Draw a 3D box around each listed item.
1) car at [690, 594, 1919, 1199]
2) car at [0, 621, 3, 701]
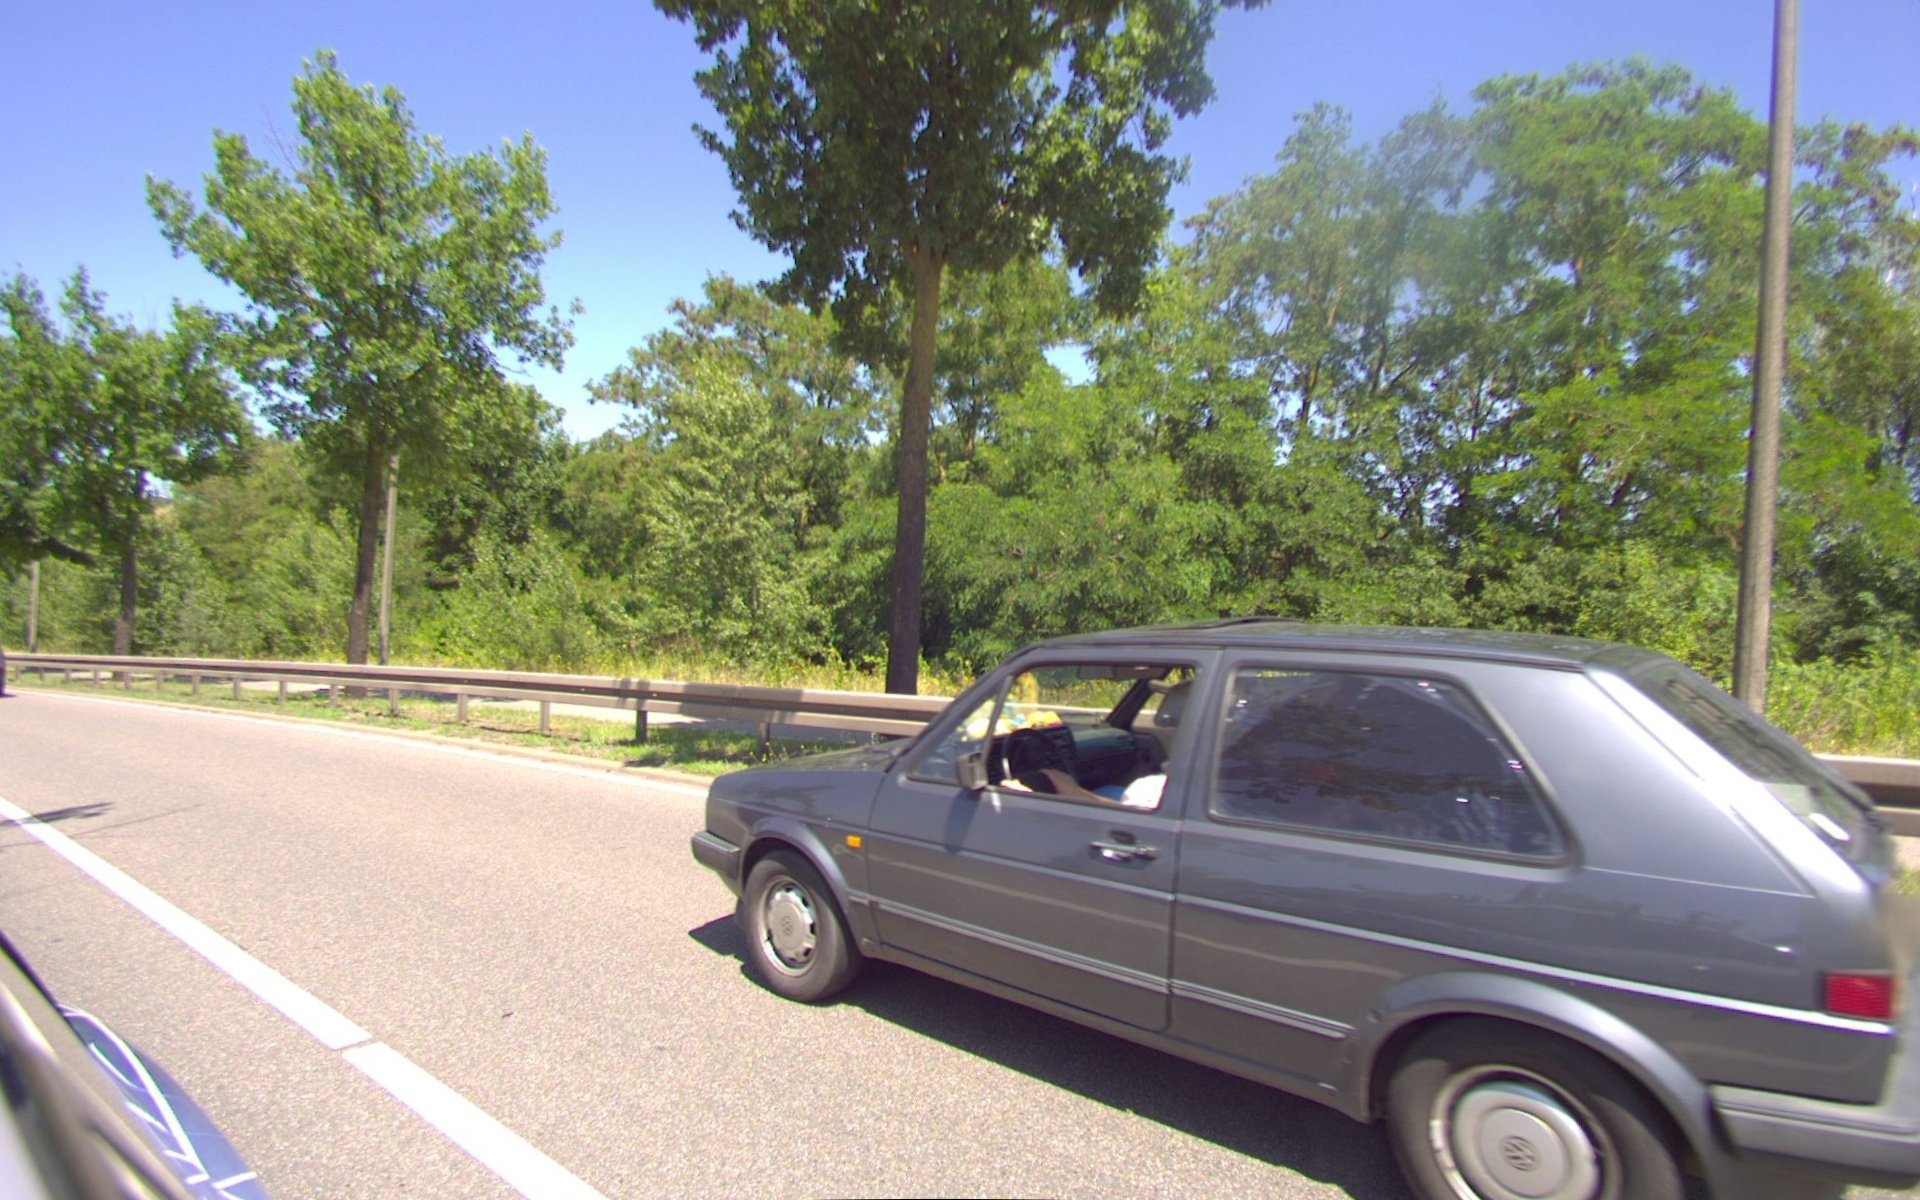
[{"bbox_3d":[0.862,0.704,3.357,3.888,1.382,1.540,-1,-1,42],"label":"car"},{"bbox_3d":[-20.975,1.225,20.363,4.118,1.567,1.734,-1,0,36],"label":"car"}]
